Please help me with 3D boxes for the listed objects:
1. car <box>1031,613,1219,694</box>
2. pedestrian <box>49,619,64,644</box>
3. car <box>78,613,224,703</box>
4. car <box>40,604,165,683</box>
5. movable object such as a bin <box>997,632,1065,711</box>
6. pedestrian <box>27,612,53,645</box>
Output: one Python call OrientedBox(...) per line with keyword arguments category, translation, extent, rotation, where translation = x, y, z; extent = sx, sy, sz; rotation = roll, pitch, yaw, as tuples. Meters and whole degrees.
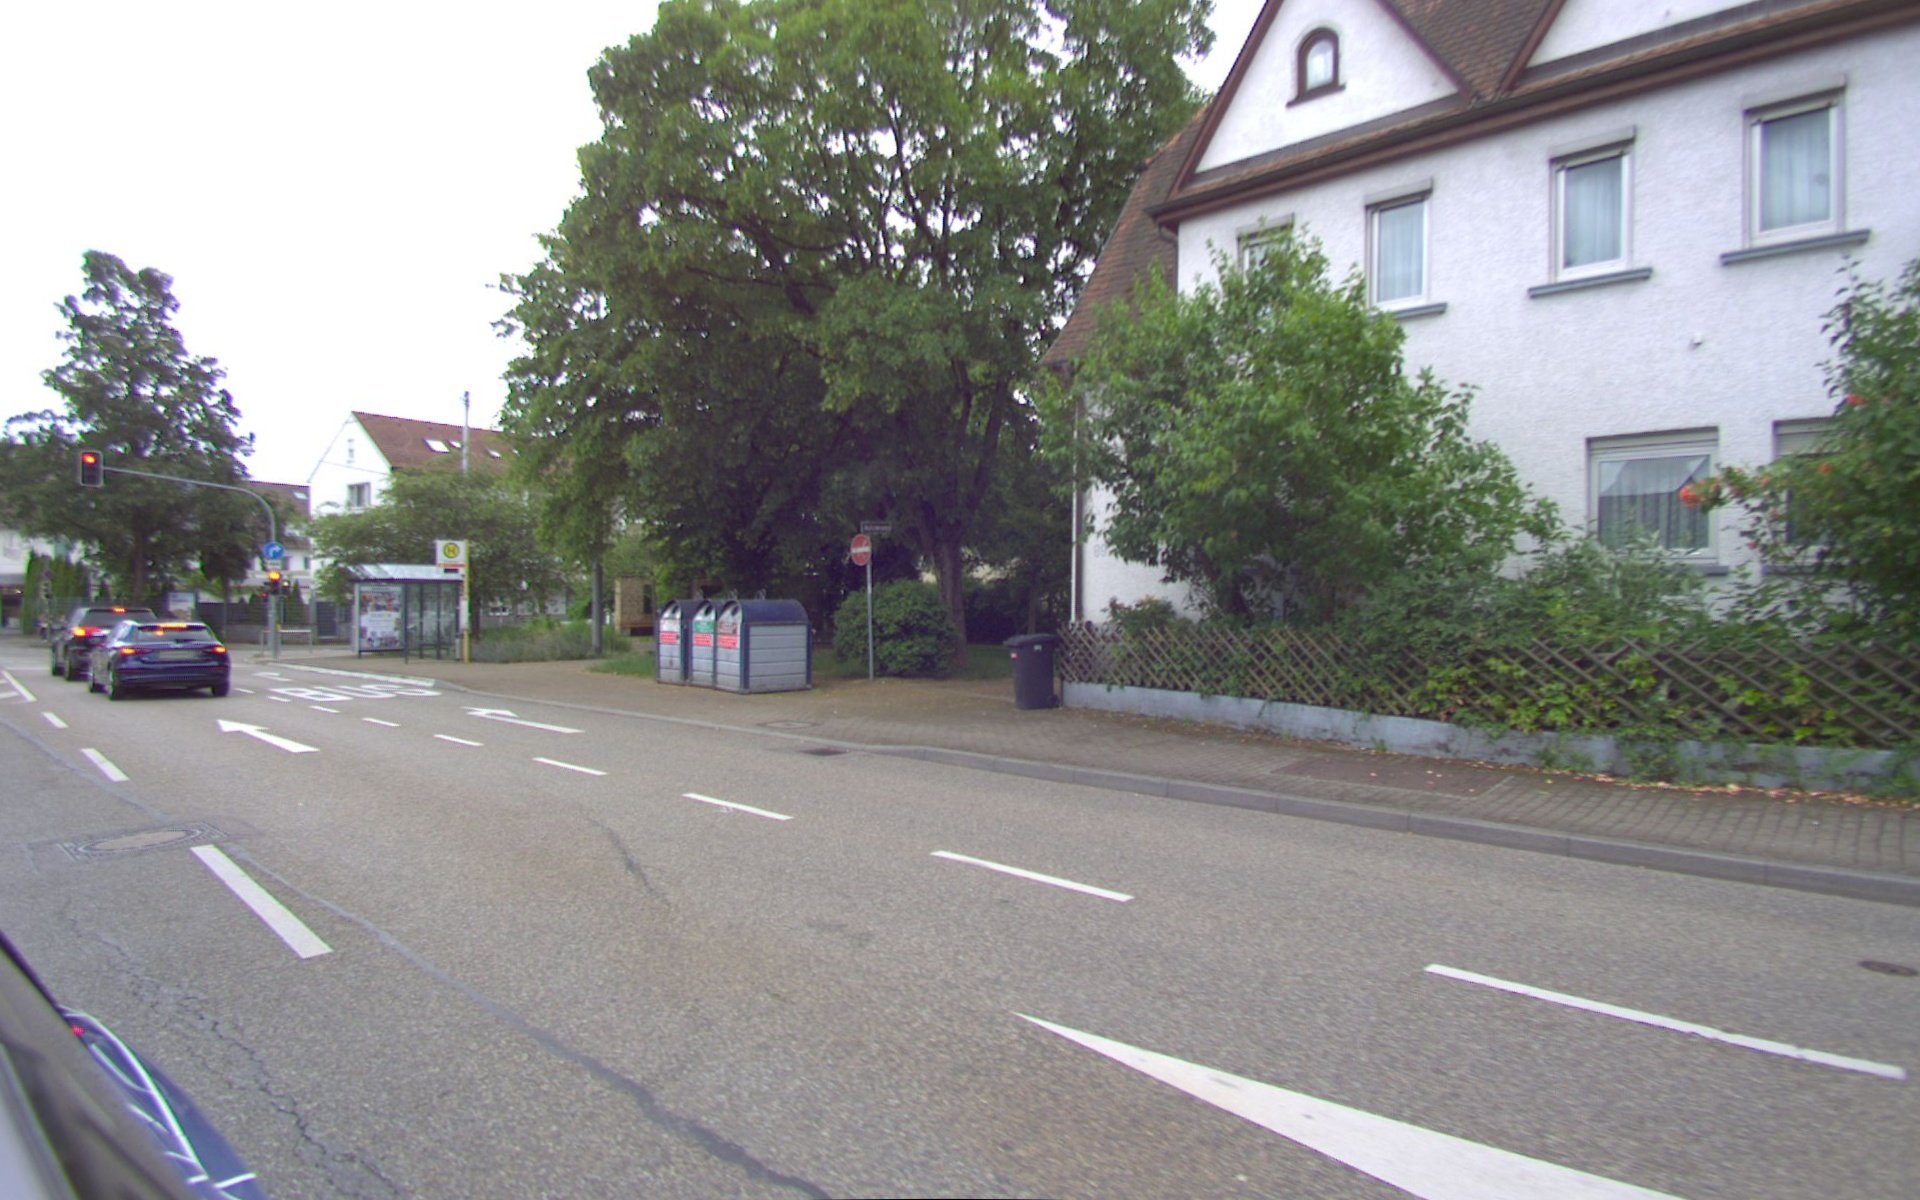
OrientedBox(category="car", translation=(3.249, 0.993, 19.433), extent=(1.722, 1.342, 3.945), rotation=(1, -1, 41))
OrientedBox(category="pedestrian", translation=(-45.566, 1.586, 51.038), extent=(0.547, 1.271, 0.380), rotation=(0, 1, 23))
OrientedBox(category="car", translation=(-15.415, 1.020, 19.206), extent=(4.130, 1.431, 1.547), rotation=(1, 0, 43))
OrientedBox(category="car", translation=(-20.693, 0.995, 24.353), extent=(4.595, 1.647, 1.739), rotation=(1, -1, 43))
OrientedBox(category="movable object such as a bin", translation=(1.000, 0.994, 14.356), extent=(0.708, 1.027, 0.724), rotation=(-3, 0, -14))
OrientedBox(category="pedestrian", translation=(-45.939, 1.406, 50.514), extent=(0.861, 1.617, 0.637), rotation=(0, 1, 23))
